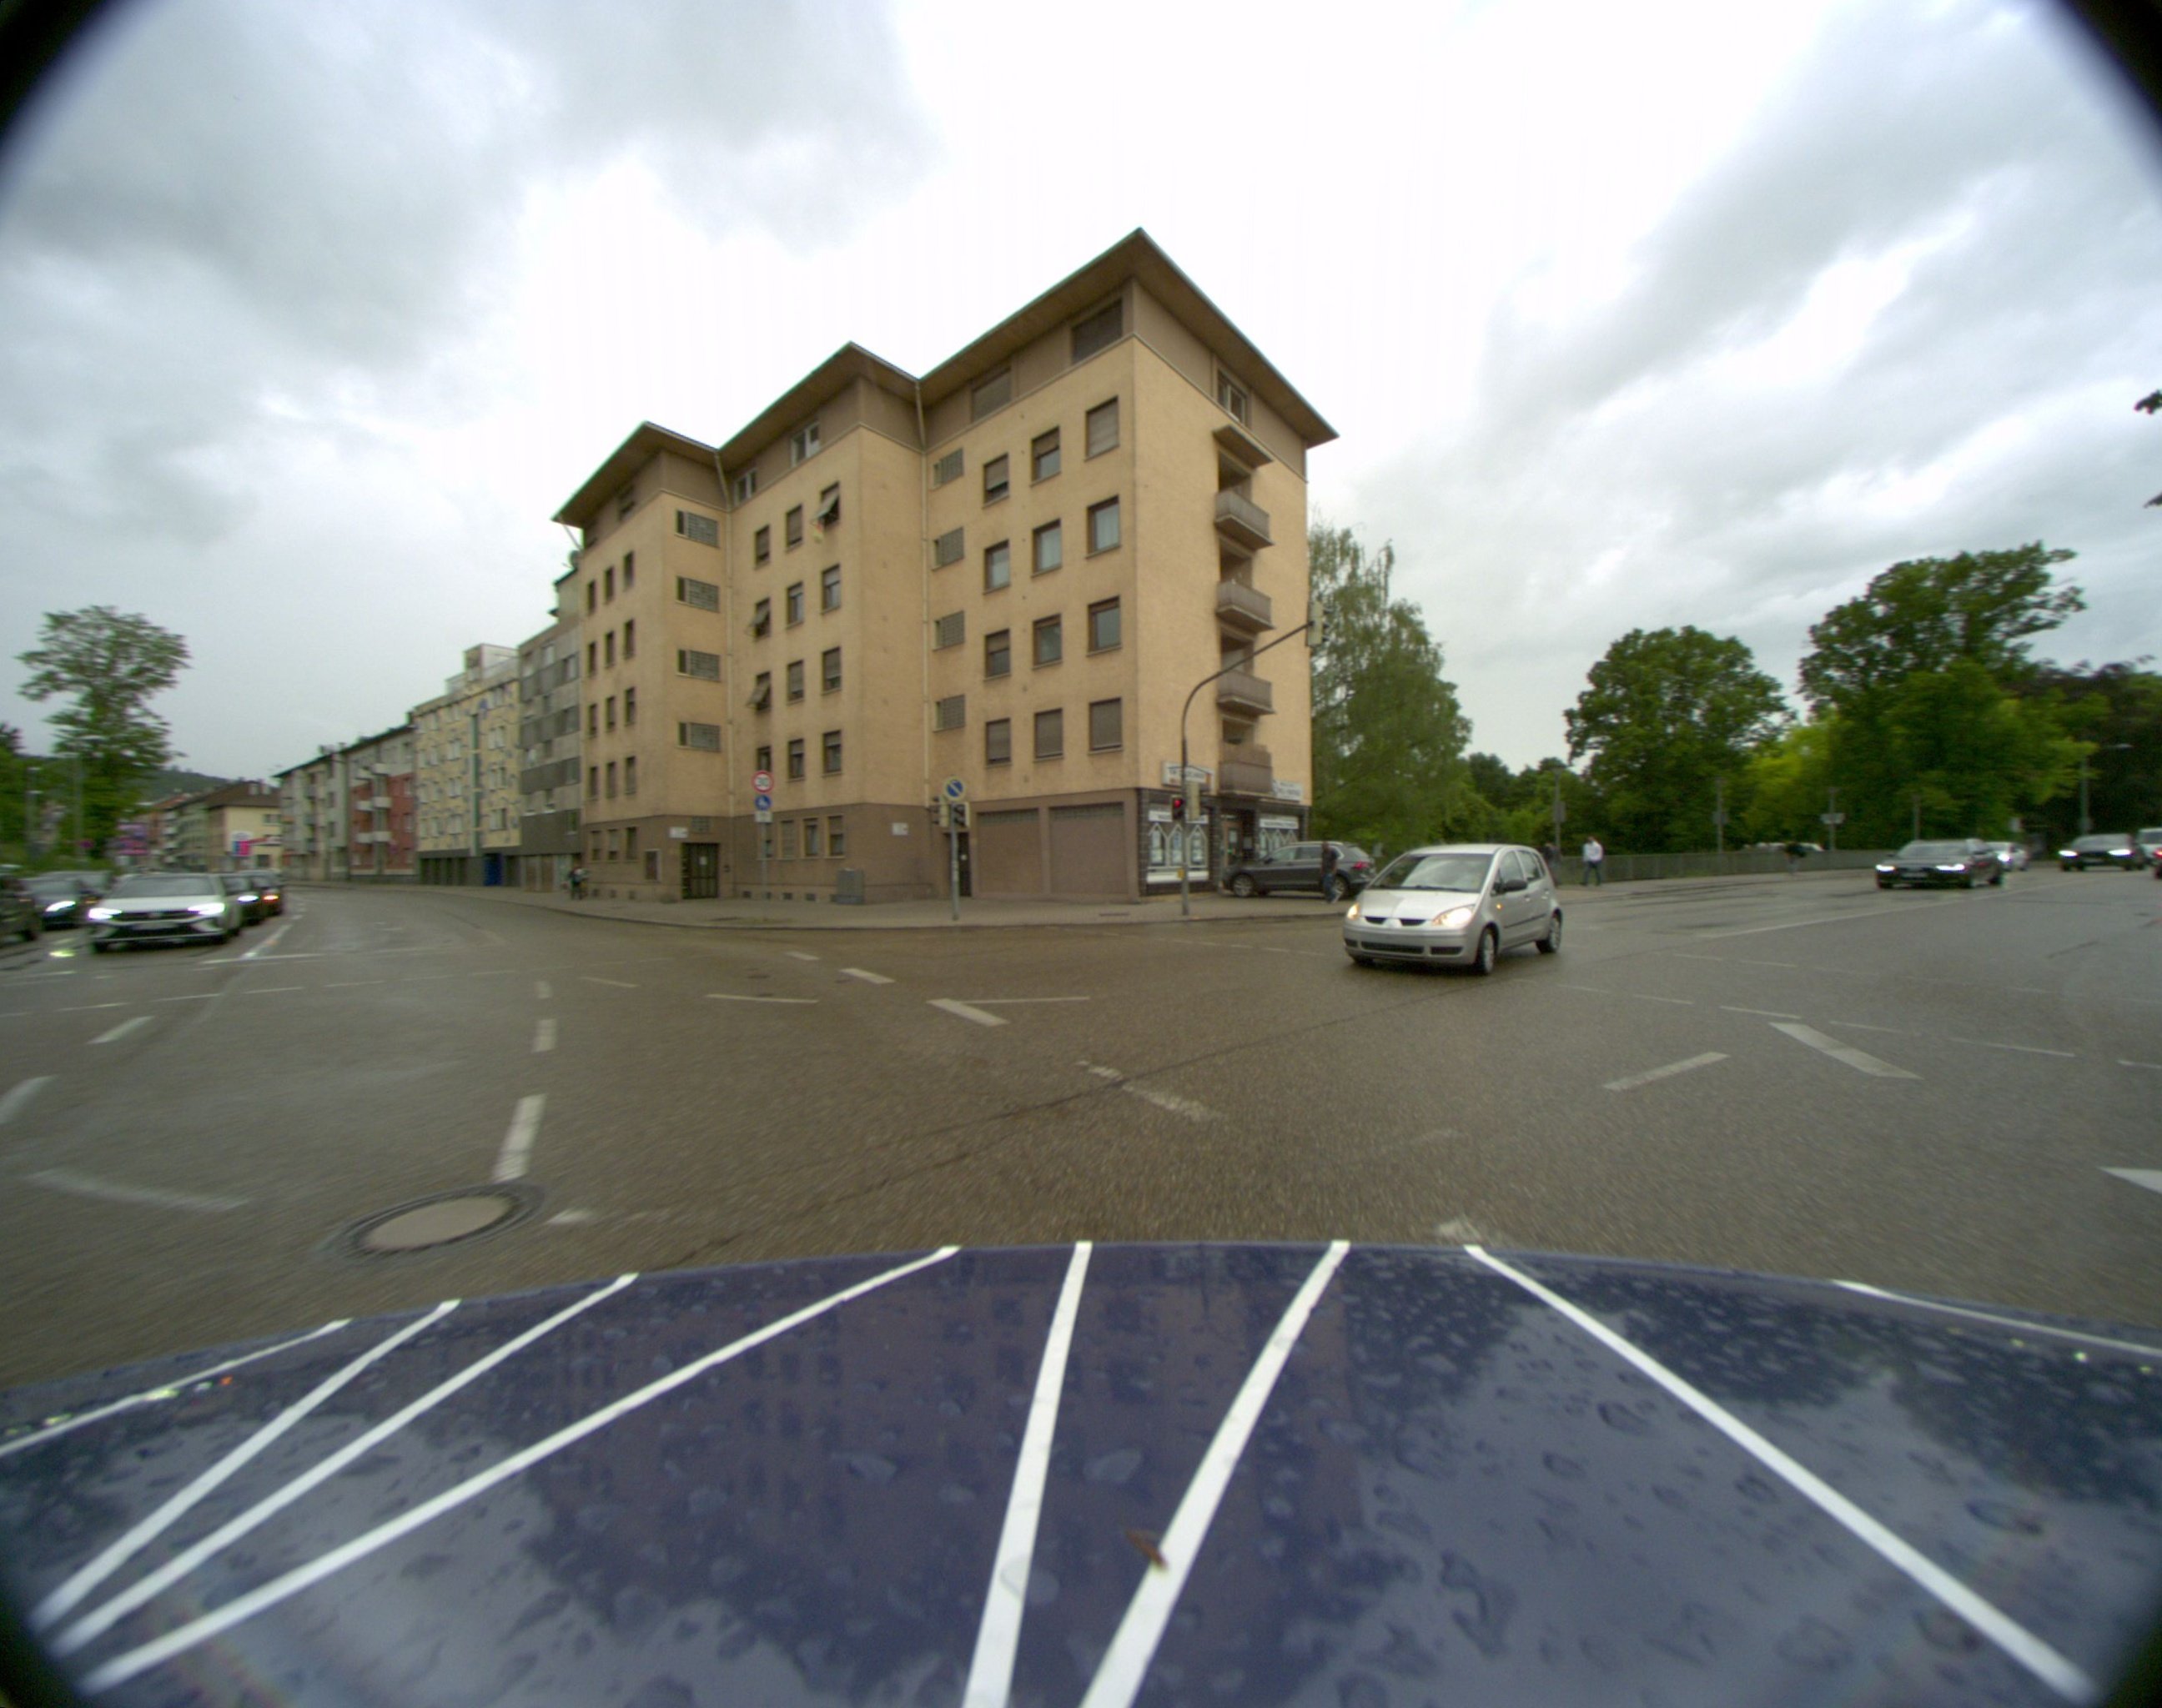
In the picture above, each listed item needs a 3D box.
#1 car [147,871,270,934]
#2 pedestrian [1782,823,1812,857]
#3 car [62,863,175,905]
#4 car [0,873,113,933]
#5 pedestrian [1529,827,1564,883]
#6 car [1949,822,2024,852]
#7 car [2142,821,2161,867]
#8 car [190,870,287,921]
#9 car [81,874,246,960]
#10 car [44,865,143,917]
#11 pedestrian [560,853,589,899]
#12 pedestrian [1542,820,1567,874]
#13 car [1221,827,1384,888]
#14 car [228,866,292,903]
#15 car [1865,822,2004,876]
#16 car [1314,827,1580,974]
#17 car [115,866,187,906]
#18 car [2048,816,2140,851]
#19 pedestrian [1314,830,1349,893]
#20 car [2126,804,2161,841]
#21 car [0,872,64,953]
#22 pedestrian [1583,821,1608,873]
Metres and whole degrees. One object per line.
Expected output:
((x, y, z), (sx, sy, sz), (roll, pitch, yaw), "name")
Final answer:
((-24.171, 1.263, 21.204), (4.606, 1.469, 1.924), (-1, 1, 45), "car")
((31.540, -0.621, 33.472), (0.707, 1.465, 0.788), (-2, 1, -27), "pedestrian")
((-50.525, 1.561, 39.909), (4.479, 2.002, 2.002), (-1, 1, 15), "car")
((-29.219, 1.314, 21.374), (4.606, 1.469, 2.004), (-1, 1, 44), "car")
((14.056, 0.024, 22.959), (0.702, 1.637, 0.660), (-1, 1, 12), "pedestrian")
((43.329, -0.825, 36.350), (4.006, 1.302, 1.649), (-2, 1, -30), "car")
((36.893, -0.356, 25.068), (4.012, 1.478, 1.754), (-1, 1, -29), "car")
((-28.033, 1.316, 25.409), (4.606, 1.469, 2.004), (-1, 1, 44), "car")
((-19.253, 1.215, 16.145), (4.541, 1.469, 1.883), (-1, 1, 44), "car")
((-34.711, 1.240, 26.815), (3.988, 1.646, 1.685), (-1, 1, 43), "car")
((-22.483, 0.975, 33.718), (0.856, 2.002, 0.812), (-2, 1, 42), "pedestrian")
((16.028, -0.239, 25.751), (0.558, 1.793, 0.476), (-1, 1, 9), "pedestrian")
((6.472, 0.056, 22.358), (4.270, 1.638, 1.763), (1, 2, 33), "car")
((-39.898, 1.417, 36.993), (3.988, 1.652, 2.004), (-1, 1, 44), "car")
((25.988, -0.190, 23.103), (4.513, 1.454, 1.995), (-2, 1, -31), "car")
((5.012, 0.472, 10.146), (4.007, 1.510, 1.749), (-3, 1, -42), "car")
((-41.337, 1.384, 33.854), (3.988, 1.646, 1.685), (-1, 1, 43), "car")
((45.017, -0.923, 33.766), (4.006, 1.429, 1.995), (-2, 1, -30), "car")
((6.581, 0.196, 19.956), (0.583, 1.629, 0.617), (-2, 1, -26), "pedestrian")
((60.289, -1.770, 42.227), (4.381, 1.990, 2.213), (-2, 1, -31), "car")
((-23.774, 1.241, 15.969), (2.004, 1.607, 4.607), (-3, 1, -43), "car")
((18.033, -0.257, 26.641), (0.509, 1.793, 0.497), (-2, 1, -5), "pedestrian")
